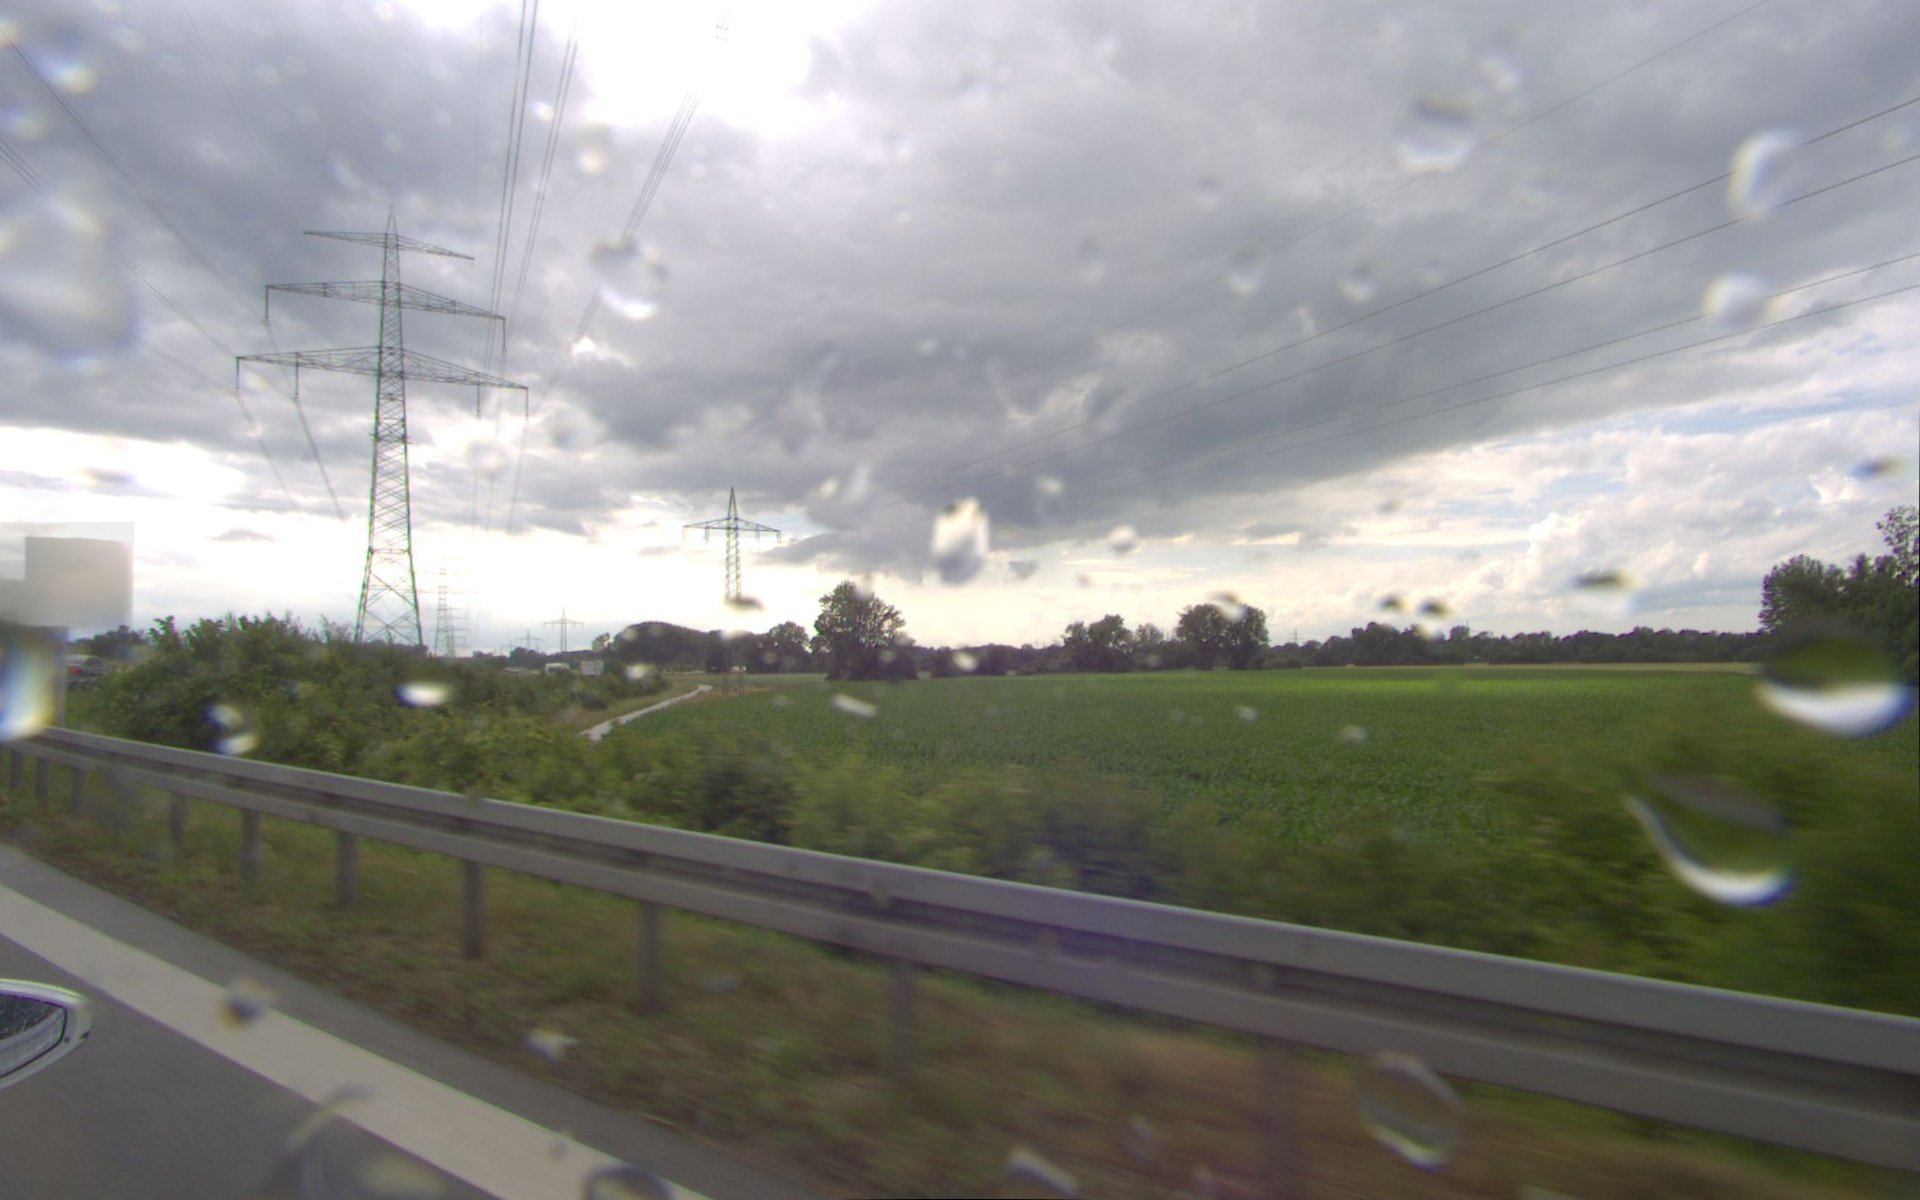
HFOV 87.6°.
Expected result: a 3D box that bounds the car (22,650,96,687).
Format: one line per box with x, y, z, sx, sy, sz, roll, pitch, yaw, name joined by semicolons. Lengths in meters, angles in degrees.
-37.475;2.903;41.741;1.775;1.458;3.977;3;-6;-35;car
